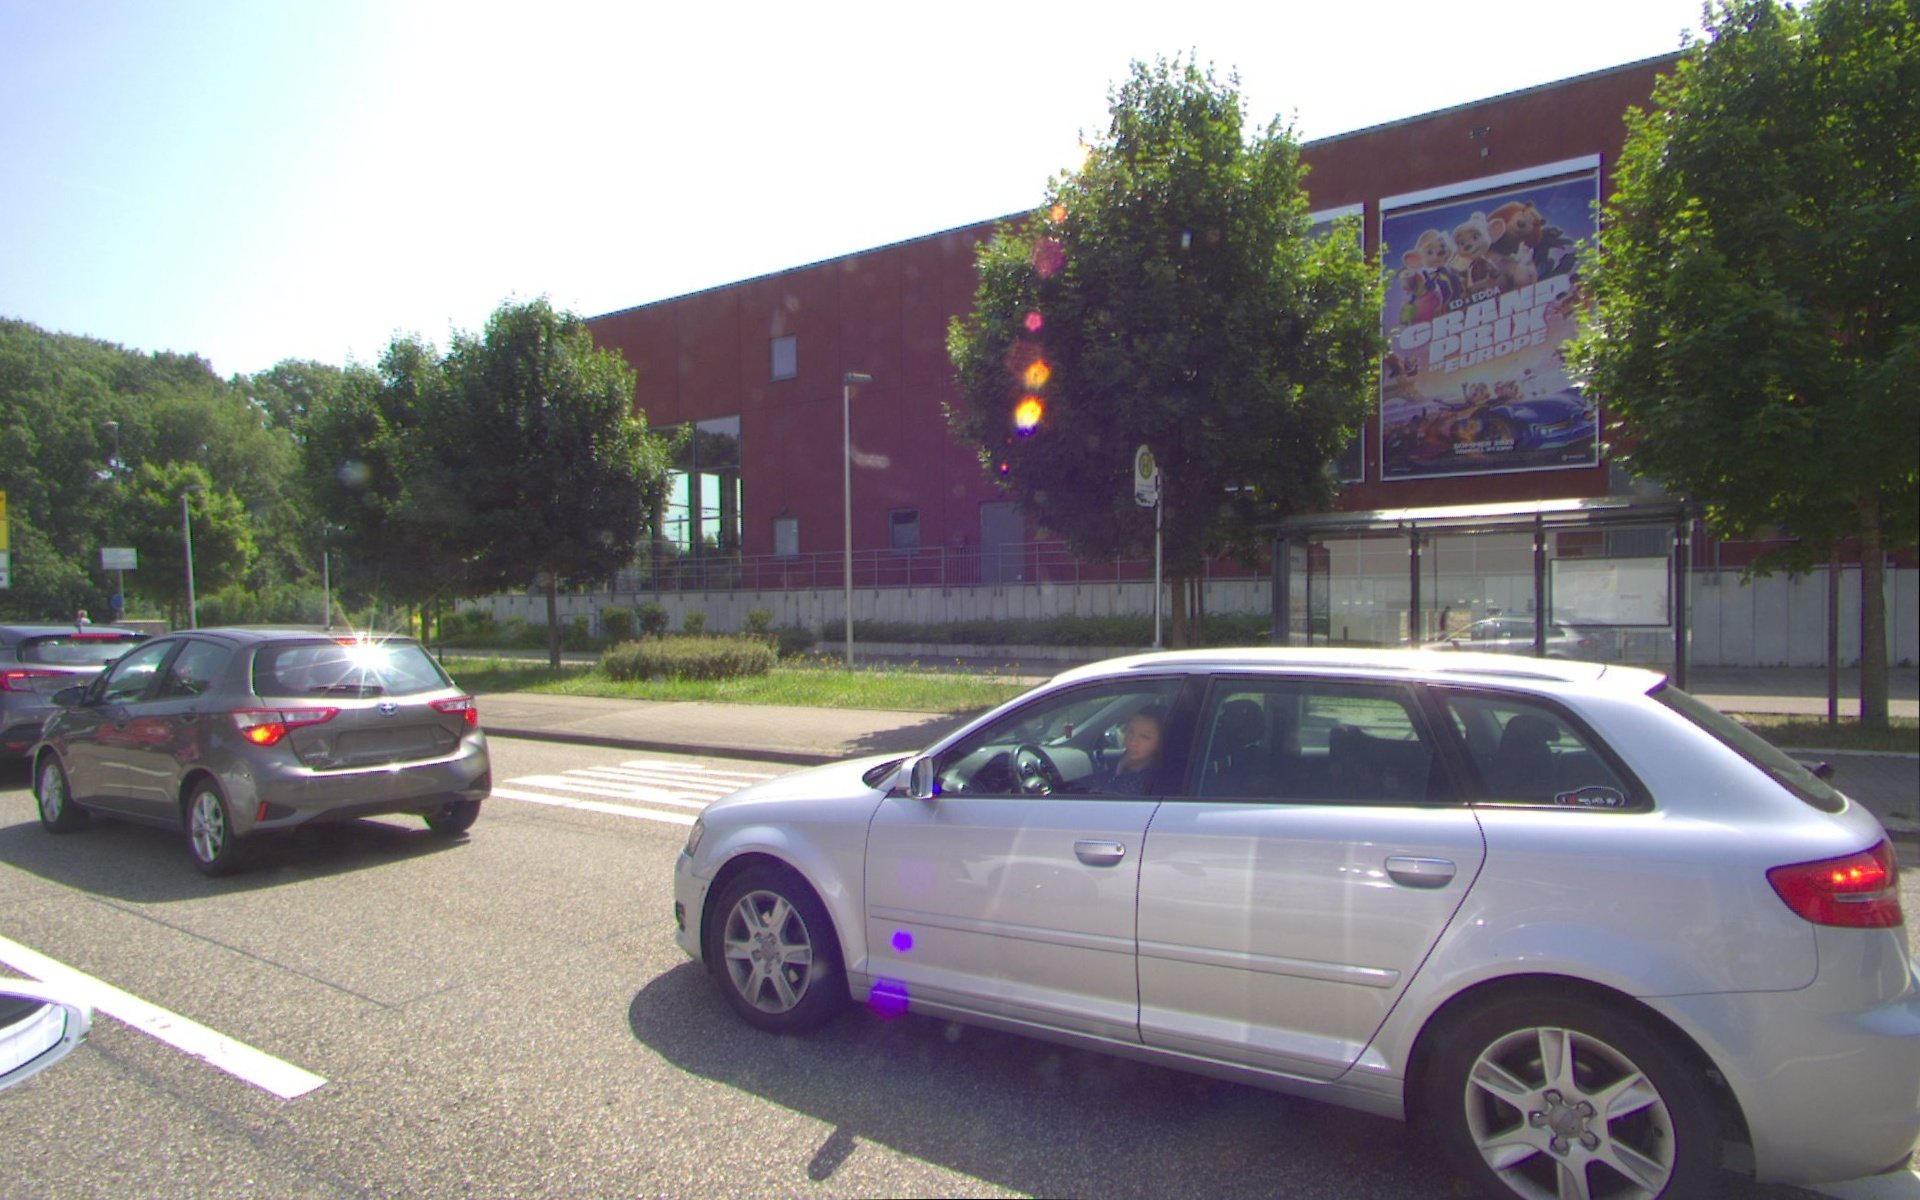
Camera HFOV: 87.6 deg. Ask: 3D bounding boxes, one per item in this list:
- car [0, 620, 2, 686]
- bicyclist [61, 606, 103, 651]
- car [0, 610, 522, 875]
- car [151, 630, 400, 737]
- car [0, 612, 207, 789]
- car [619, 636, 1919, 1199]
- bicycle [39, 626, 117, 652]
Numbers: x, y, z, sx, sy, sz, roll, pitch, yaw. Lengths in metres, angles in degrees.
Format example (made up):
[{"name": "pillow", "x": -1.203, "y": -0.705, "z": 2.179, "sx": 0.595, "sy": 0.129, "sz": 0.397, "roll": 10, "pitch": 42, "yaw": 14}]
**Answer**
[{"name": "car", "x": -24.676, "y": 1.251, "z": 23.829, "sx": 4.031, "sy": 1.566, "sz": 1.709, "roll": -1, "pitch": -1, "yaw": 31}, {"name": "bicyclist", "x": -28.648, "y": 0.922, "z": 32.671, "sx": 0.814, "sy": 1.458, "sz": 0.598, "roll": -1, "pitch": 1, "yaw": -15}, {"name": "car", "x": -5.314, "y": 0.878, "z": 7.436, "sx": 4.031, "sy": 1.496, "sz": 1.711, "roll": -1, "pitch": -4, "yaw": 31}, {"name": "car", "x": -10.401, "y": 1.178, "z": 15.144, "sx": 4.086, "sy": 1.388, "sz": 1.635, "roll": 0, "pitch": -2, "yaw": 33}, {"name": "car", "x": -10.100, "y": 0.954, "z": 10.848, "sx": 4.031, "sy": 1.614, "sz": 1.709, "roll": -1, "pitch": -1, "yaw": 31}, {"name": "car", "x": 0.795, "y": 0.843, "z": 3.731, "sx": 4.031, "sy": 1.379, "sz": 1.710, "roll": -1, "pitch": -2, "yaw": 31}, {"name": "bicycle", "x": -28.749, "y": 1.267, "z": 32.664, "sx": 1.794, "sy": 0.776, "sz": 0.600, "roll": -1, "pitch": 1, "yaw": -15}]
